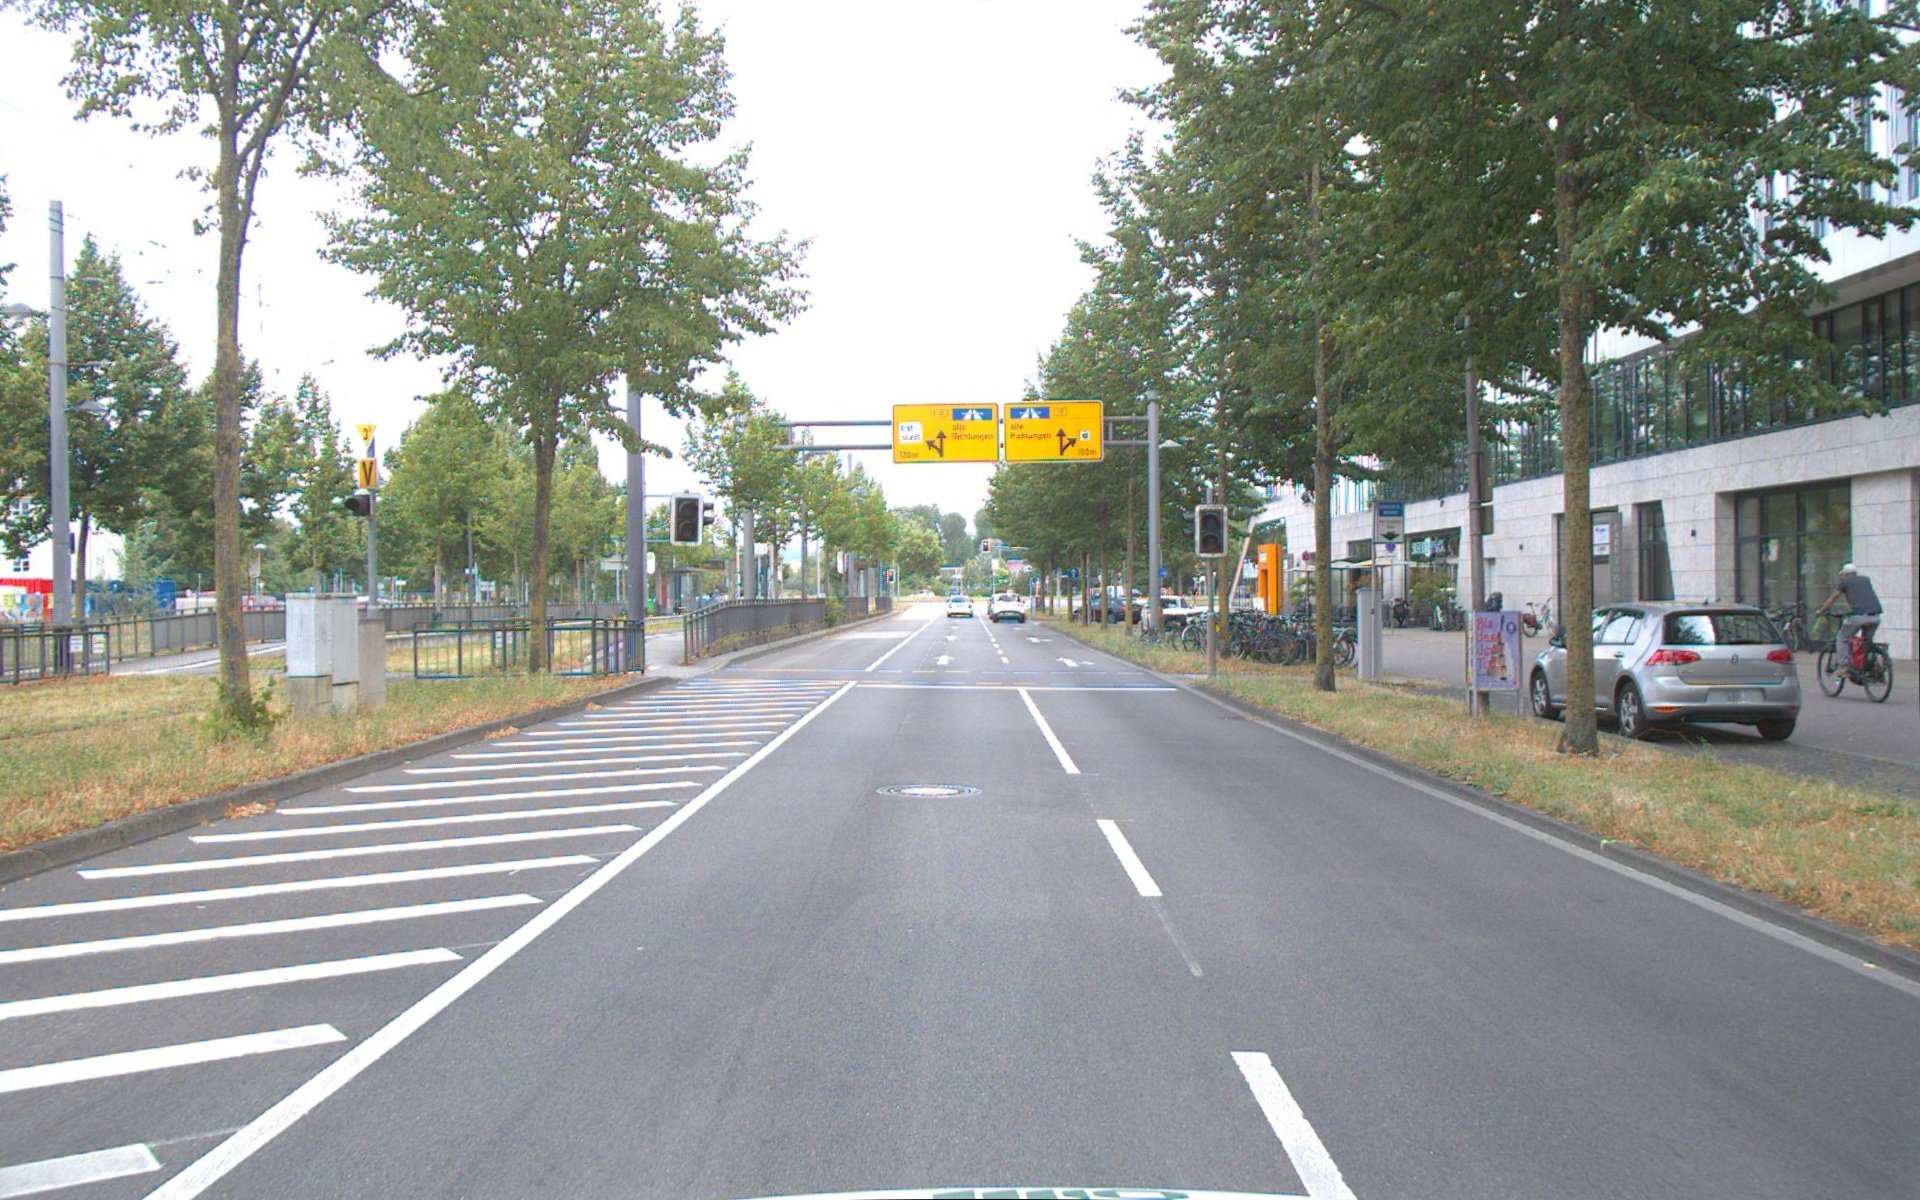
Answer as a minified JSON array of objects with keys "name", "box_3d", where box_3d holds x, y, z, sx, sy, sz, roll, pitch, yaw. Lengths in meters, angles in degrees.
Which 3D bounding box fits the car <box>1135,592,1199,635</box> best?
[{"name":"car","box_3d":[8.136,0.501,65.237,1.898,1.579,4.593,-1,0,-1]}]

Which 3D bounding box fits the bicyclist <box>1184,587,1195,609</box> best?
[{"name":"bicyclist","box_3d":[17.533,-0.145,126.182,0.709,1.610,0.990,0,-1,1]}]

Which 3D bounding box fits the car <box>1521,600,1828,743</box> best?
[{"name":"car","box_3d":[7.985,0.726,18.930,1.724,1.446,4.182,0,0,0]}]

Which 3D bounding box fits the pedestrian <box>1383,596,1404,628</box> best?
[{"name":"pedestrian","box_3d":[16.888,0.467,64.443,0.756,1.213,1.107,-1,0,15]}]

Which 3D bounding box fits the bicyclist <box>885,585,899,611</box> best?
[{"name":"bicyclist","box_3d":[-5.292,-0.176,128.332,0.727,1.919,0.721,6,-6,-38]}]

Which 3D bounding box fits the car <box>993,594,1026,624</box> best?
[{"name":"car","box_3d":[2.806,0.495,94.390,1.742,1.685,4.023,-1,0,0]}]

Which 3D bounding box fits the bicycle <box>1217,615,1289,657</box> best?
[{"name":"bicycle","box_3d":[7.648,0.934,43.197,1.711,0.991,0.608,3,0,-9]}]

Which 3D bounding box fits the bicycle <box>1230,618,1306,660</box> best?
[{"name":"bicycle","box_3d":[7.484,0.946,40.200,1.682,0.921,0.587,3,0,-9]}]

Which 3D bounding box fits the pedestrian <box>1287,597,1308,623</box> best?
[{"name":"pedestrian","box_3d":[16.659,0.491,81.717,0.879,1.250,0.951,-1,0,5]}]

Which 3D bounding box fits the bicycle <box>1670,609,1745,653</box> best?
[{"name":"bicycle","box_3d":[17.301,0.714,38.294,1.498,0.970,0.533,-1,0,-3]}]

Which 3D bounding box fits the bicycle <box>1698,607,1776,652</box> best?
[{"name":"bicycle","box_3d":[17.318,0.660,36.865,1.498,0.970,0.533,-1,0,-3]}]

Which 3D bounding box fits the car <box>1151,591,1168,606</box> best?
[{"name":"car","box_3d":[23.250,-0.198,192.658,1.745,1.664,4.406,-1,0,10]}]

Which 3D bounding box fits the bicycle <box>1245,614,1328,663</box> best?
[{"name":"bicycle","box_3d":[7.538,0.894,38.225,1.739,1.030,0.609,3,0,-9]}]

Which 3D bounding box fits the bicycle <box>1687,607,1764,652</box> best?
[{"name":"bicycle","box_3d":[17.329,0.664,37.471,1.498,0.970,0.533,-1,0,-3]}]

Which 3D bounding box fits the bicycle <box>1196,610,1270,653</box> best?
[{"name":"bicycle","box_3d":[7.551,0.867,45.774,1.891,1.084,0.641,3,0,-3]}]

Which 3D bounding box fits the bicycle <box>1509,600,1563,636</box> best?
[{"name":"bicycle","box_3d":[17.501,0.544,50.256,1.579,1.044,0.605,-1,0,-28]}]

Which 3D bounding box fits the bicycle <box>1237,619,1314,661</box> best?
[{"name":"bicycle","box_3d":[7.547,0.962,39.566,1.682,0.921,0.587,3,0,-9]}]

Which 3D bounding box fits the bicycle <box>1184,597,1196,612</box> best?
[{"name":"bicycle","box_3d":[17.554,0.335,126.277,0.659,1.060,2.007,-1,0,0]}]

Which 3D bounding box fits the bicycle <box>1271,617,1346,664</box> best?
[{"name":"bicycle","box_3d":[7.566,0.885,35.966,1.498,0.970,0.484,2,0,-3]}]

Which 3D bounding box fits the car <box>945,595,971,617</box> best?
[{"name":"car","box_3d":[-0.153,0.381,113.753,1.738,1.474,3.909,-1,0,-1]}]

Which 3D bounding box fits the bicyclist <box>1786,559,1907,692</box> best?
[{"name":"bicyclist","box_3d":[12.377,0.347,23.128,0.976,1.767,1.129,-3,0,-1]}]

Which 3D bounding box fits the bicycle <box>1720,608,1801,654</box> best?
[{"name":"bicycle","box_3d":[17.380,0.671,35.926,1.498,0.970,0.533,-1,0,-3]}]

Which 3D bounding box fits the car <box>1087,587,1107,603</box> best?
[{"name":"car","box_3d":[16.437,-0.647,198.365,1.953,1.822,3.999,2,0,-1]}]

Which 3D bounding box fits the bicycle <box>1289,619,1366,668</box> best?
[{"name":"bicycle","box_3d":[7.819,0.924,35.197,1.498,0.970,0.552,2,0,-3]}]

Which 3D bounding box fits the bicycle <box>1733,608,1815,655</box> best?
[{"name":"bicycle","box_3d":[17.405,0.664,35.367,1.498,0.970,0.533,-1,0,-3]}]

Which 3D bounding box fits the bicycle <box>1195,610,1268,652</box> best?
[{"name":"bicycle","box_3d":[7.625,0.874,46.534,1.891,1.084,0.705,3,0,-3]}]

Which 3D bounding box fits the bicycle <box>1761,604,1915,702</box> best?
[{"name":"bicycle","box_3d":[12.353,0.715,23.374,0.884,1.256,2.267,-3,0,-1]}]

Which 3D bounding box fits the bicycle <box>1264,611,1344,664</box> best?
[{"name":"bicycle","box_3d":[7.623,0.820,36.703,1.635,1.109,0.525,2,0,-3]}]

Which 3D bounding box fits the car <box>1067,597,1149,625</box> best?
[{"name":"car","box_3d":[8.124,0.619,91.288,1.924,1.501,4.812,-1,0,-34]}]

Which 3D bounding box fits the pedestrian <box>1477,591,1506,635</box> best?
[{"name":"pedestrian","box_3d":[17.333,0.421,53.944,0.740,1.431,0.721,-1,0,7]}]

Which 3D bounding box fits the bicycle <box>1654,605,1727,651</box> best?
[{"name":"bicycle","box_3d":[17.332,0.661,39.236,1.498,1.044,0.533,-1,0,-3]}]

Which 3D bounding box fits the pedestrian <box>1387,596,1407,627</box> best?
[{"name":"pedestrian","box_3d":[17.536,0.472,66.349,0.704,1.213,0.759,-1,0,22]}]
